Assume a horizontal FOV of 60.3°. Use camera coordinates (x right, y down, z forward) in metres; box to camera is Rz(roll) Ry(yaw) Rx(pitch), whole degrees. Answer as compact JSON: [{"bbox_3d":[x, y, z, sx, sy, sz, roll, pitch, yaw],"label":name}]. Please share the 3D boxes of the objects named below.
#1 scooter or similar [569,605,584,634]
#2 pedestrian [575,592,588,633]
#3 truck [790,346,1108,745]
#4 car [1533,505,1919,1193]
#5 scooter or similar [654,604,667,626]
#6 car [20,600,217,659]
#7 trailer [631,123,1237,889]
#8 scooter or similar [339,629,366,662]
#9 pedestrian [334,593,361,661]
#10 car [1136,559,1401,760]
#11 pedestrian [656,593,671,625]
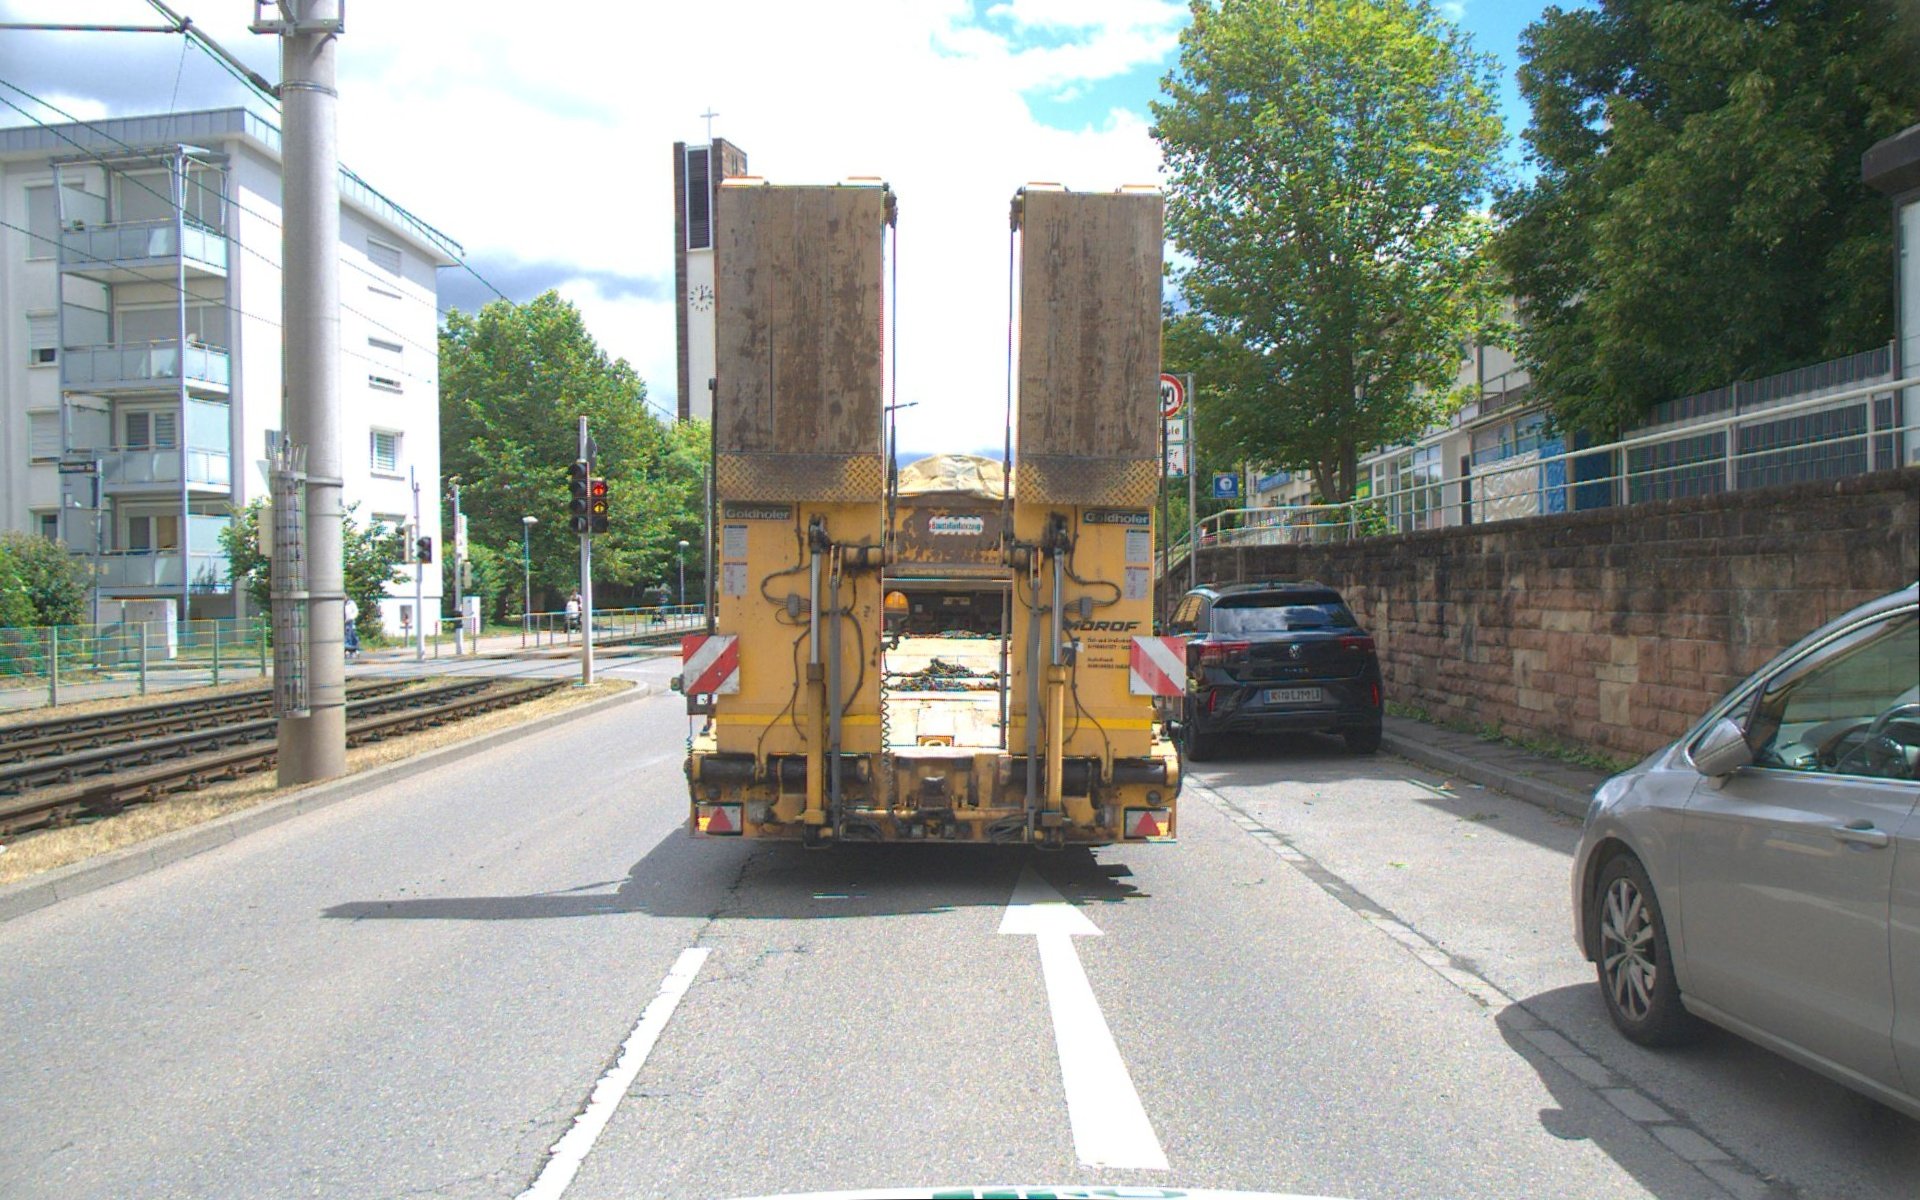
[{"bbox_3d":[-14.344,0.723,61.843,0.331,1.076,0.688,0,1,4],"label":"scooter or similar"},{"bbox_3d":[-14.308,0.473,62.497,0.341,1.564,0.557,-1,0,3],"label":"pedestrian"},{"bbox_3d":[-0.097,-0.510,17.618,2.882,3.635,4.876,-1,0,0],"label":"truck"},{"bbox_3d":[3.147,0.570,4.221,1.754,1.646,4.247,-2,0,-2],"label":"car"},{"bbox_3d":[-14.143,0.710,78.171,0.495,0.988,0.645,1,0,-2],"label":"scooter or similar"},{"bbox_3d":[-20.616,0.721,40.608,3.902,1.369,1.903,-1,0,7],"label":"car"},{"bbox_3d":[-0.111,-0.476,12.316,2.885,3.664,8.683,-1,0,0],"label":"trailer"},{"bbox_3d":[-14.341,1.071,39.034,0.428,0.760,0.475,0,0,4],"label":"scooter or similar"},{"bbox_3d":[-14.607,0.649,39.441,0.428,1.608,0.475,0,0,4],"label":"pedestrian"},{"bbox_3d":[2.871,0.508,16.226,1.813,1.668,4.000,-2,0,0],"label":"car"},{"bbox_3d":[-14.123,0.431,78.824,0.552,1.540,0.645,1,0,-2],"label":"pedestrian"}]
